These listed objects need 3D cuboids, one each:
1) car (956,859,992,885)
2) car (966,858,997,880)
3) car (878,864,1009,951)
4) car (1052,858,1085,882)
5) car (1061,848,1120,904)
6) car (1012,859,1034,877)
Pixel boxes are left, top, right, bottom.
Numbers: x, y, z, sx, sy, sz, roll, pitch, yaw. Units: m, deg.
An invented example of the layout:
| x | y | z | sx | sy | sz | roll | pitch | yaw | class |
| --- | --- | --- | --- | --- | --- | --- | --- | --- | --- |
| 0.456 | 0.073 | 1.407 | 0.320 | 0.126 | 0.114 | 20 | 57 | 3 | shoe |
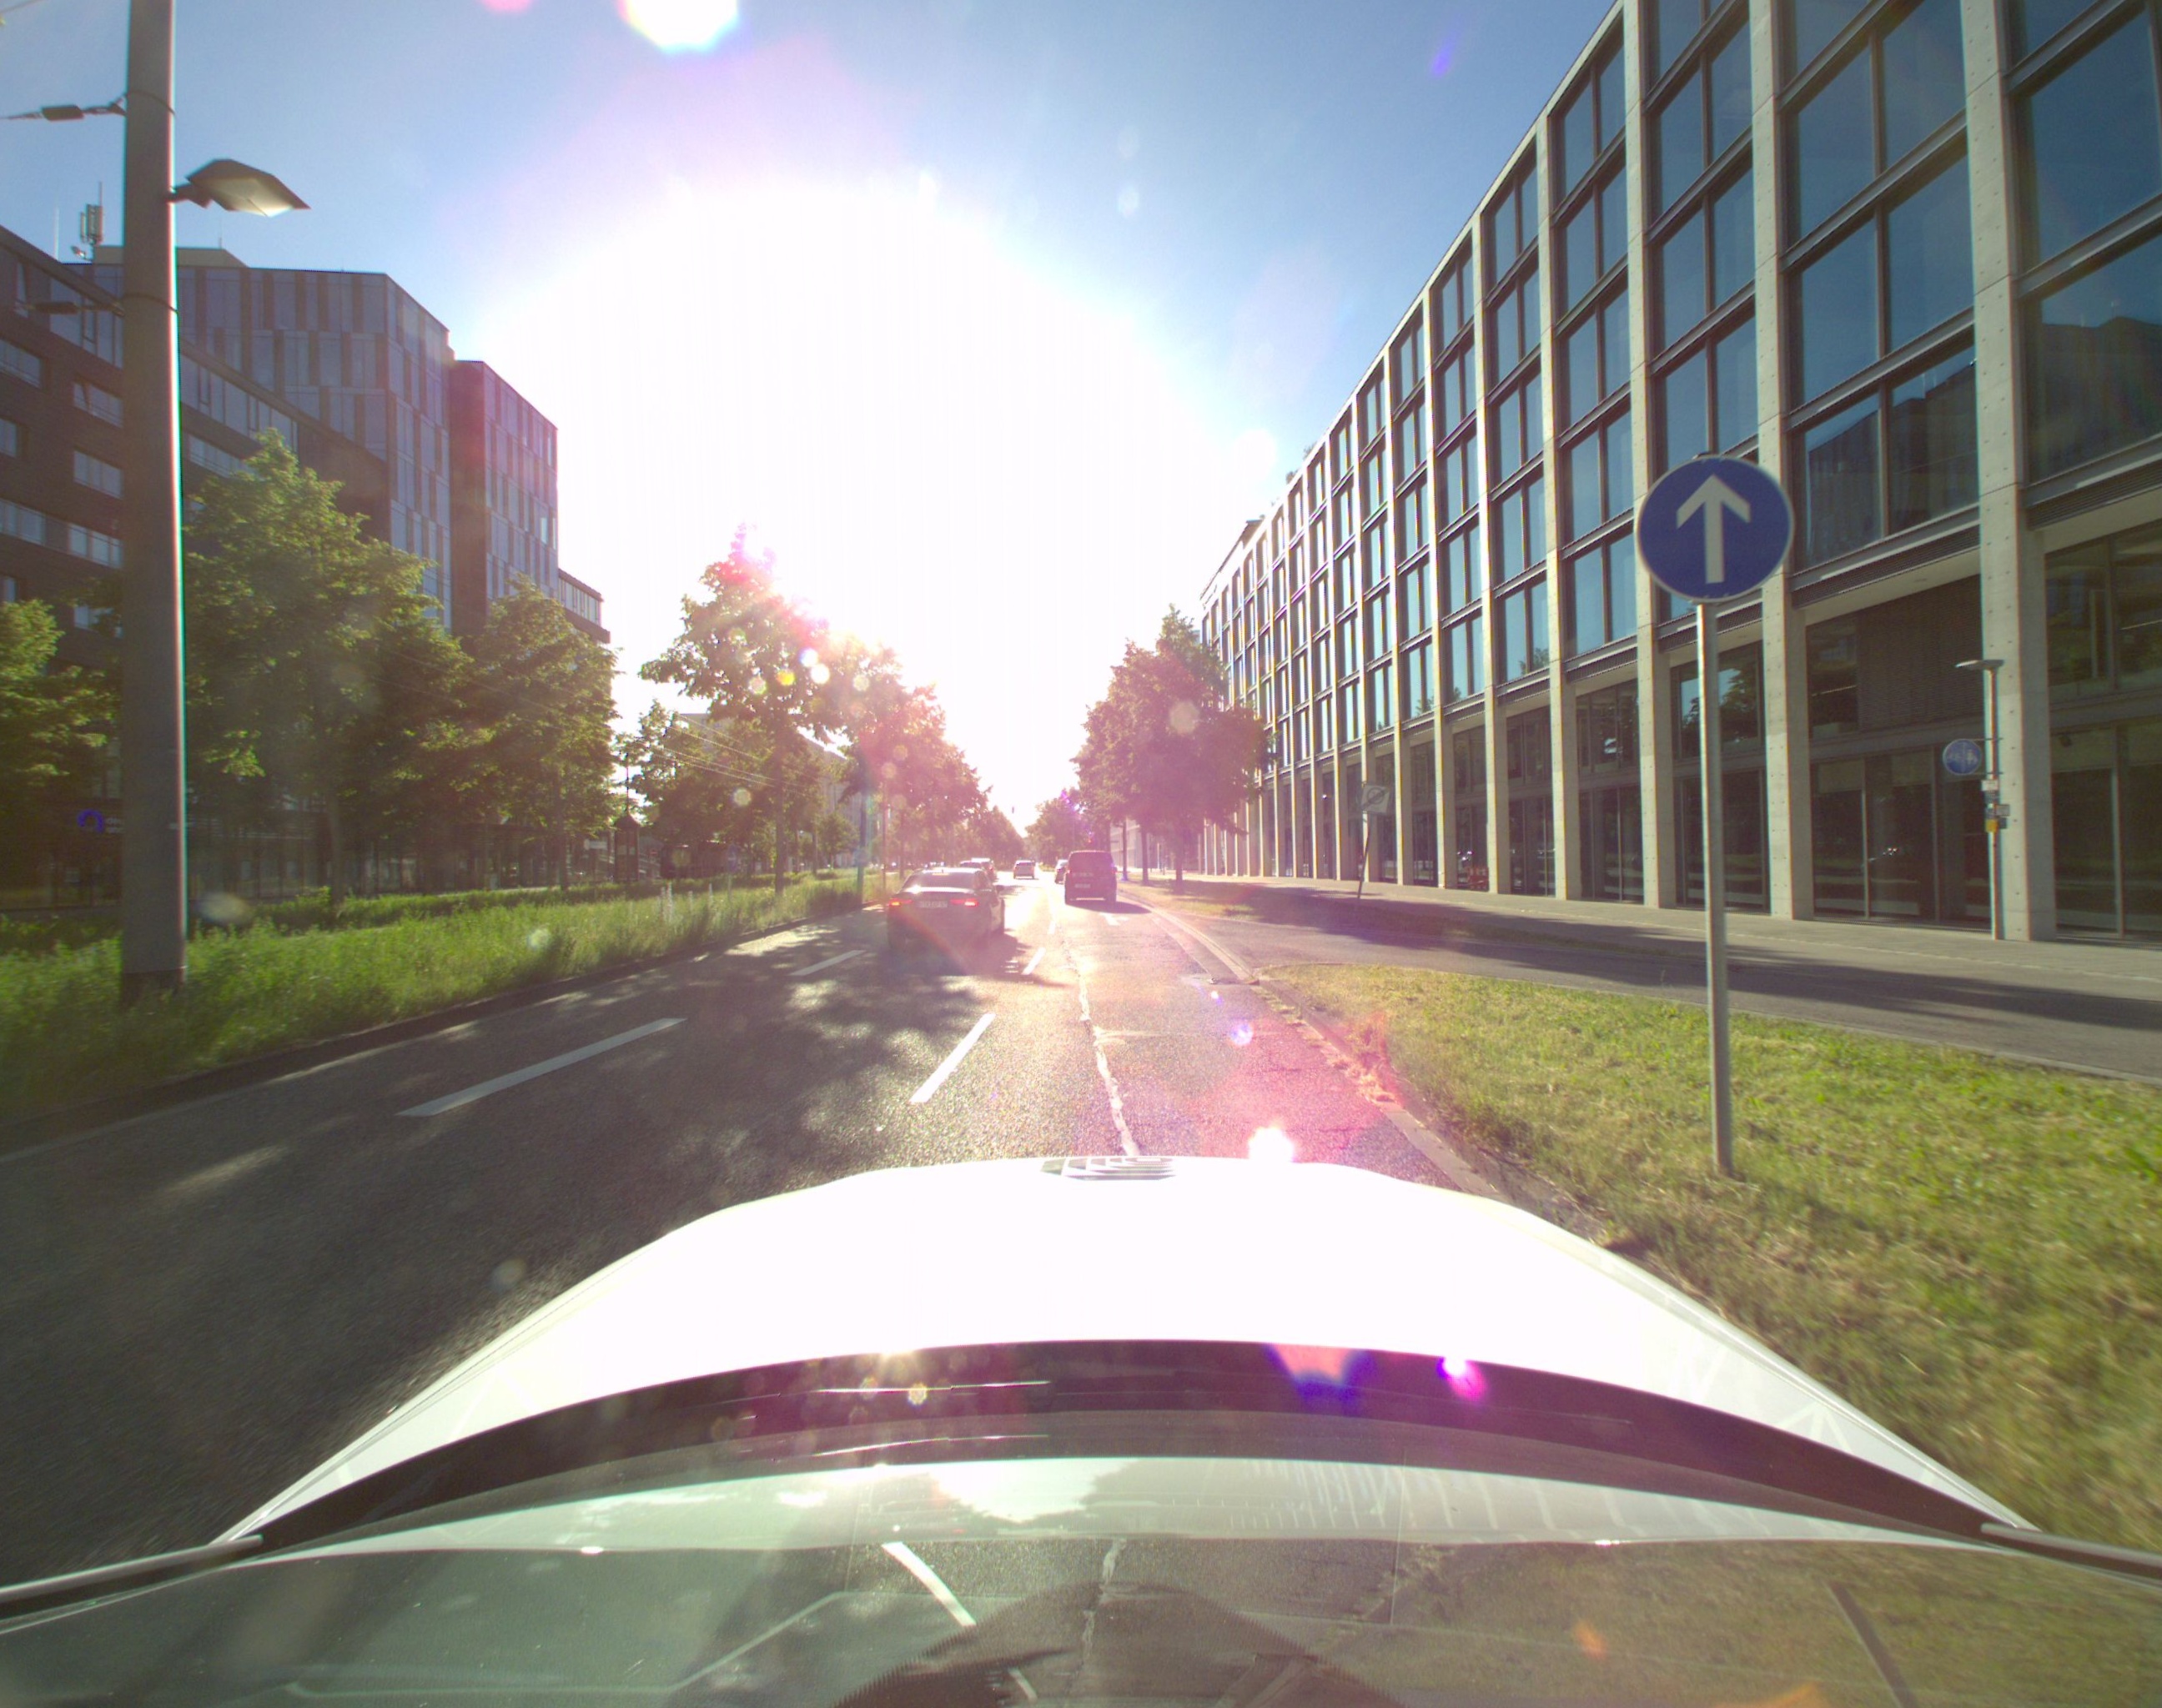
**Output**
| x | y | z | sx | sy | sz | roll | pitch | yaw | class |
| --- | --- | --- | --- | --- | --- | --- | --- | --- | --- |
| -6.410 | 1.066 | 49.120 | 1.939 | 1.441 | 3.993 | -1 | 0 | -5 | car |
| -7.013 | 1.032 | 57.836 | 1.838 | 1.534 | 3.937 | -1 | 0 | -2 | car |
| -2.416 | 0.899 | 15.316 | 1.715 | 1.366 | 4.146 | 0 | 0 | 0 | car |
| -0.829 | 0.977 | 51.290 | 1.719 | 1.425 | 3.807 | 1 | 0 | -7 | car |
| 0.267 | 0.784 | 28.820 | 1.793 | 1.777 | 3.995 | -2 | -1 | -3 | car |
| -4.617 | 1.092 | 65.444 | 1.717 | 1.425 | 3.811 | -1 | 0 | -4 | car |
